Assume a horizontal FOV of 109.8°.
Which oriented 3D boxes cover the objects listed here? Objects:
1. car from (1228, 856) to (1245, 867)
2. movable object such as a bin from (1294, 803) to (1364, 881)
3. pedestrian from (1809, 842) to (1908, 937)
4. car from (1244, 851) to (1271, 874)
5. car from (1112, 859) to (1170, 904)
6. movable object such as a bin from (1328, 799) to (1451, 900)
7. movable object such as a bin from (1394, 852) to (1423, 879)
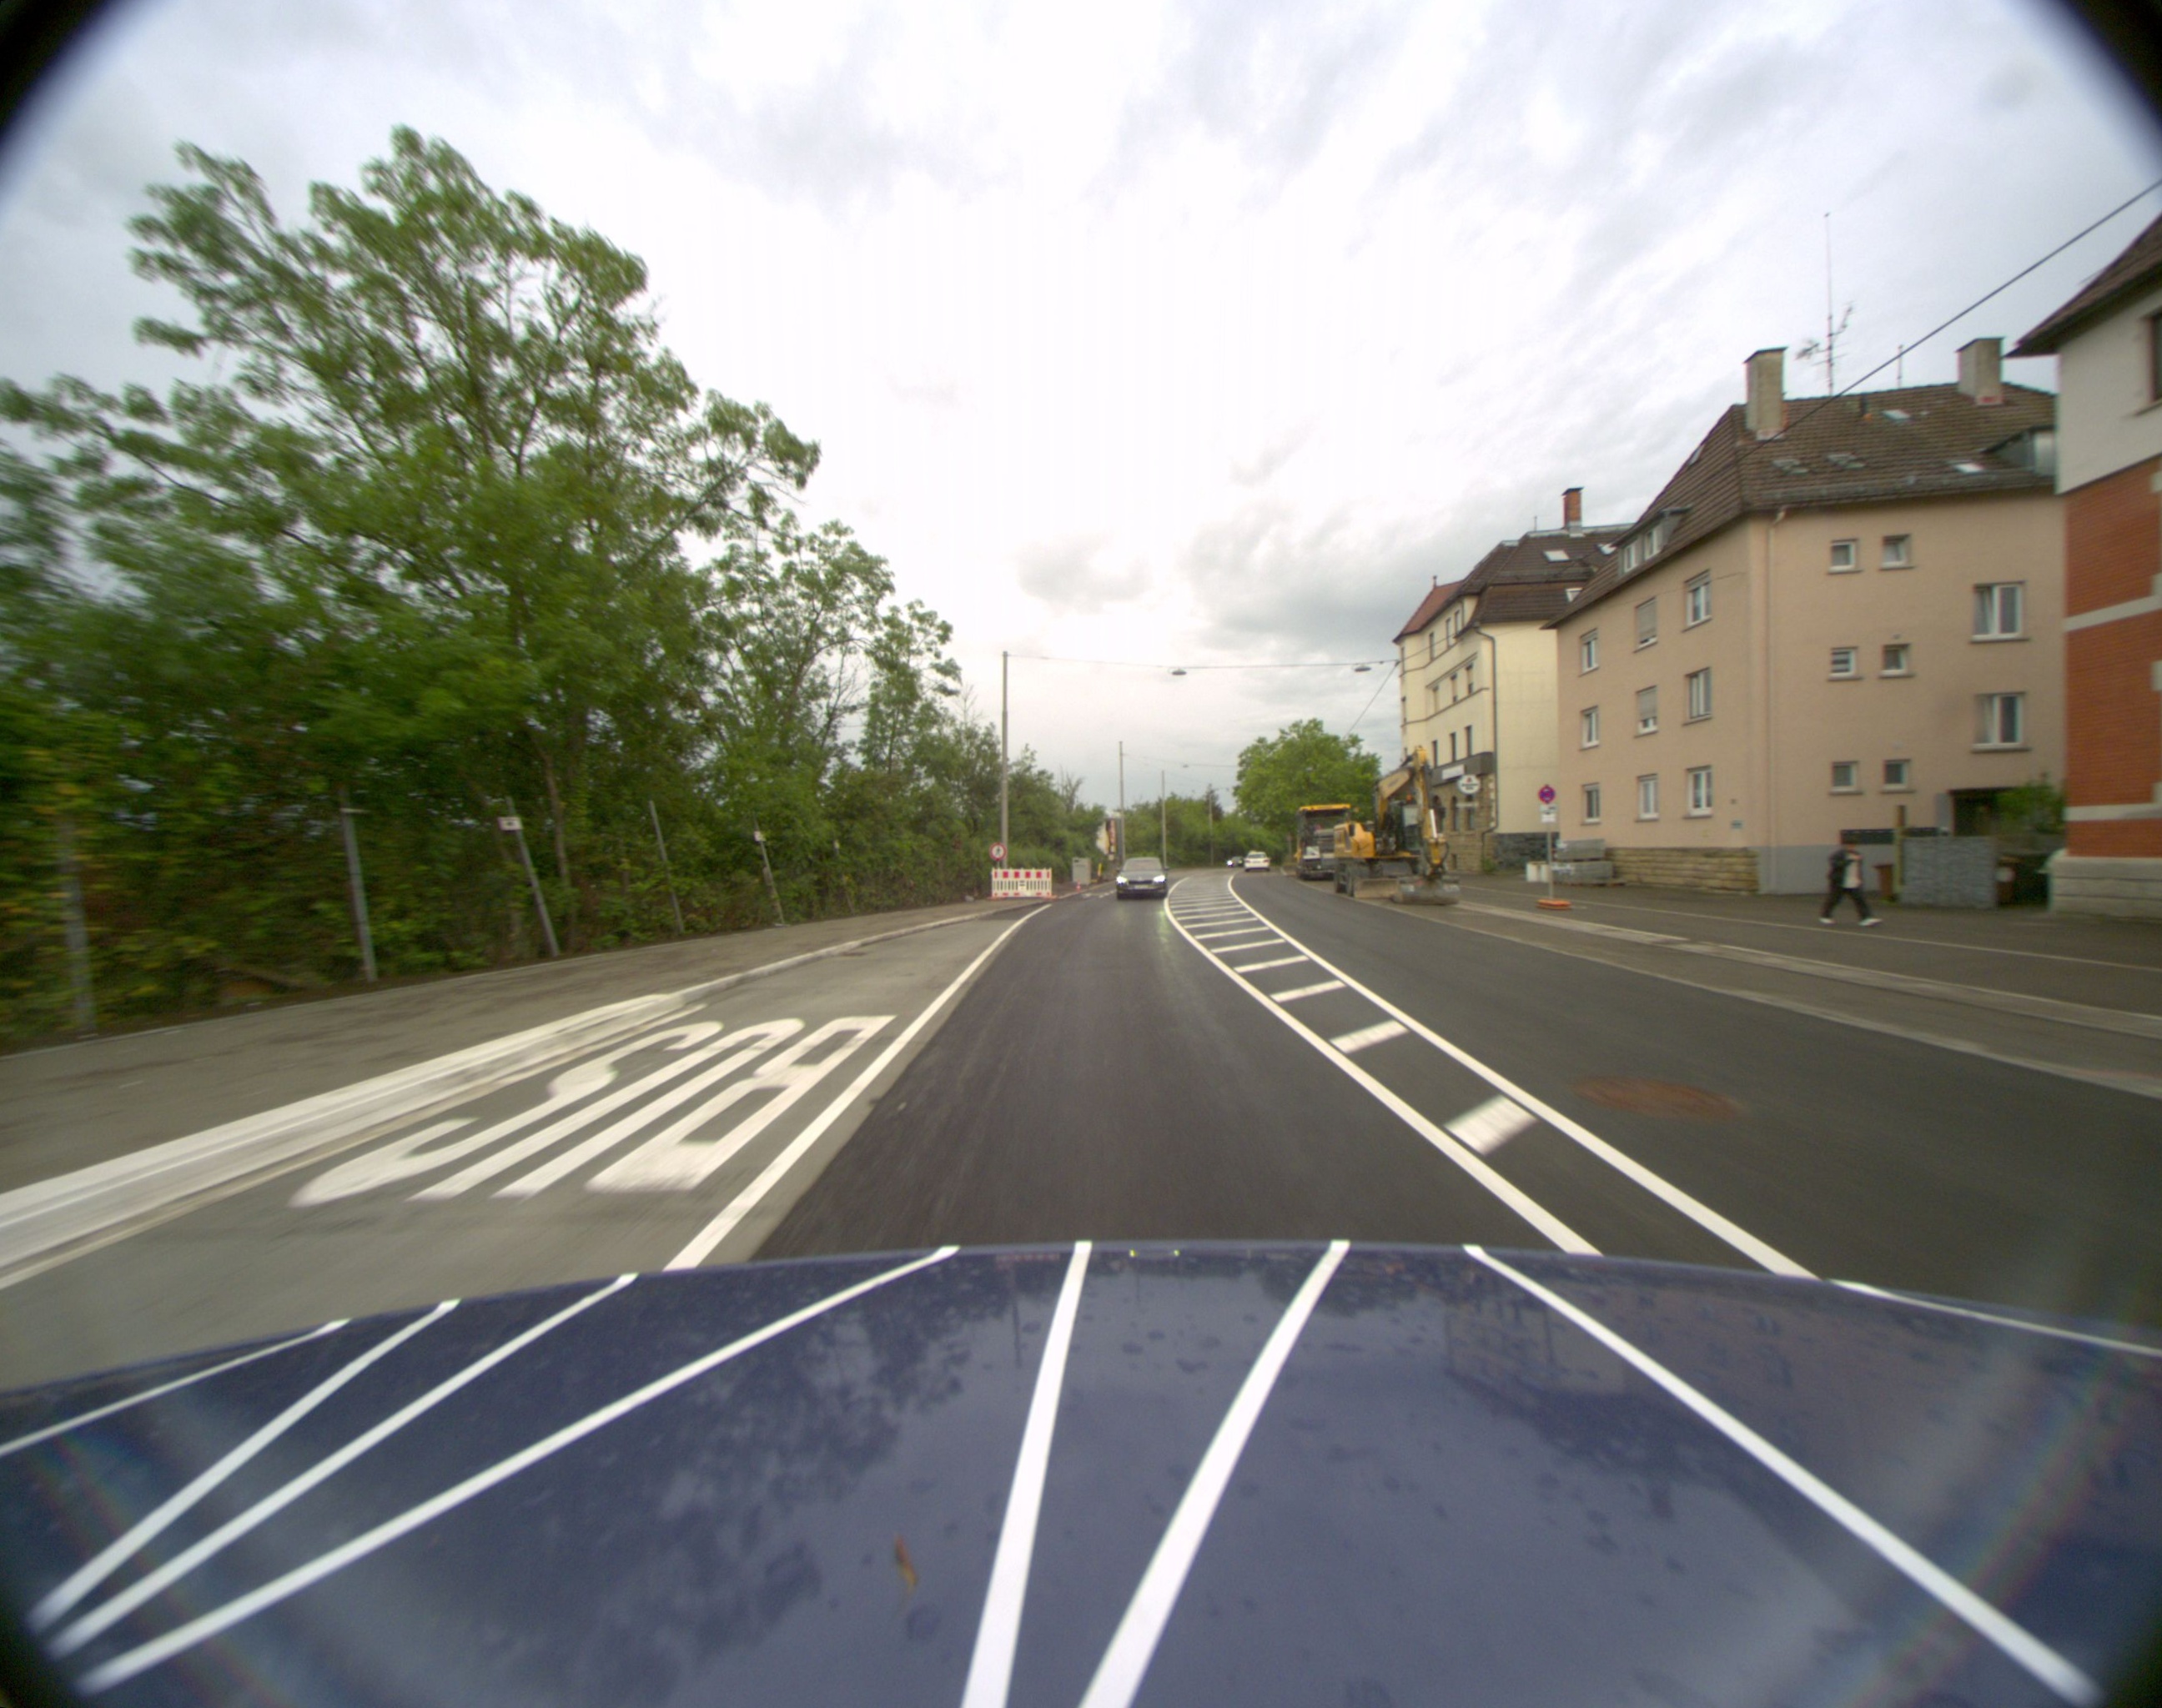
[{"bbox_3d":[19.947,0.952,97.338,1.603,1.295,3.718,-3,-1,20],"label":"car"},{"bbox_3d":[13.463,-0.592,41.915,2.952,3.821,8.135,-2,0,13],"label":"movable object such as a bin"},{"bbox_3d":[13.195,0.587,12.925,0.604,1.519,1.038,-3,0,6],"label":"pedestrian"},{"bbox_3d":[13.748,0.639,58.924,1.961,1.634,4.449,-1,0,14],"label":"car"},{"bbox_3d":[2.276,0.946,27.940,1.836,1.429,4.002,-2,0,8],"label":"car"},{"bbox_3d":[10.414,-0.122,26.114,2.829,3.094,4.636,-1,0,8],"label":"movable object such as a bin"},{"bbox_3d":[16.833,0.582,39.092,1.159,1.295,1.248,-1,1,14],"label":"movable object such as a bin"}]
